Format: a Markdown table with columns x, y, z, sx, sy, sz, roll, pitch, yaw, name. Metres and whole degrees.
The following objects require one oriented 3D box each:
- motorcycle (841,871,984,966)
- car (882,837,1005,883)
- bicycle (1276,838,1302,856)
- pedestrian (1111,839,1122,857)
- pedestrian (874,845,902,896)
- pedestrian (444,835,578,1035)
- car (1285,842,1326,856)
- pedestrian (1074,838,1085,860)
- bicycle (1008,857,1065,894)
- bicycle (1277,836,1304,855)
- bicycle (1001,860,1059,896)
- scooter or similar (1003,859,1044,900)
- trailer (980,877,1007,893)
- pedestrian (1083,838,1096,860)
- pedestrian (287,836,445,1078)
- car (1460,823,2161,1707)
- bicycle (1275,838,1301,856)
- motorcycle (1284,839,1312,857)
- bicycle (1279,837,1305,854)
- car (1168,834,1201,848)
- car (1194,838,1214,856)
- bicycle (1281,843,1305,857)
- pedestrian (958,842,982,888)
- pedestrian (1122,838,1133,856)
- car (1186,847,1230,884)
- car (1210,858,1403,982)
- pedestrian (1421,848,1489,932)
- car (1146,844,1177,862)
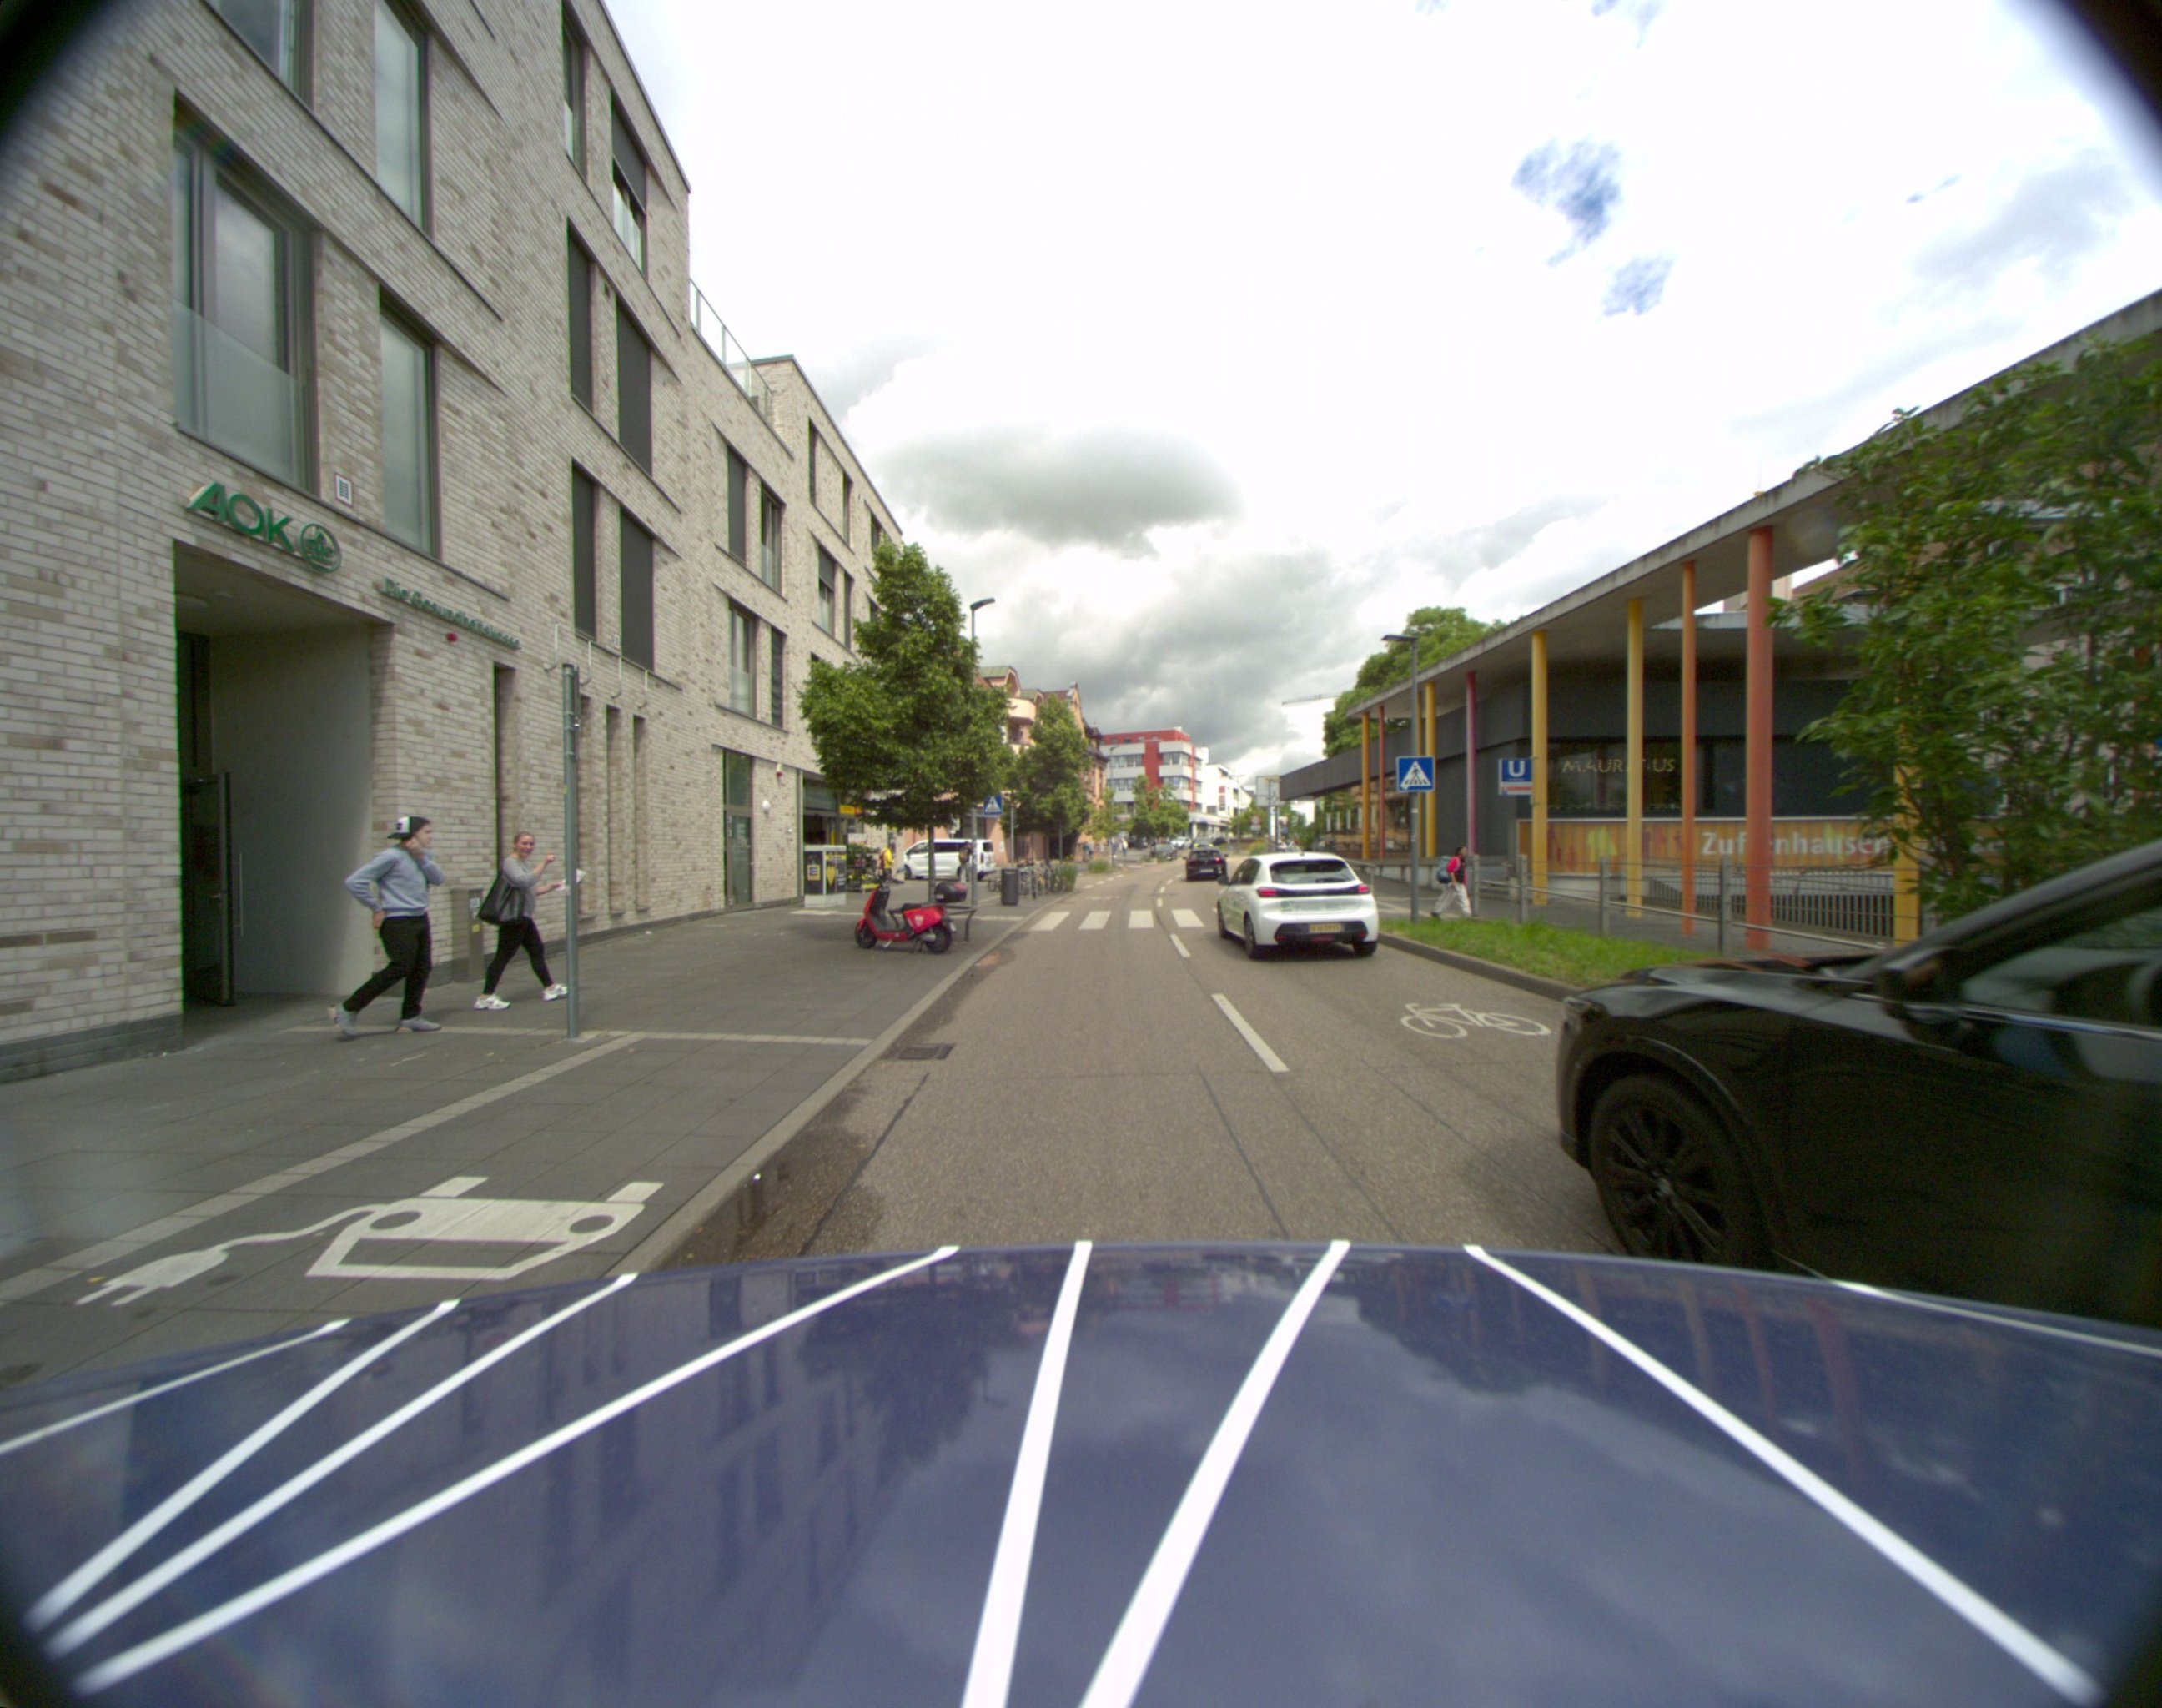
| x | y | z | sx | sy | sz | roll | pitch | yaw | name |
| --- | --- | --- | --- | --- | --- | --- | --- | --- | --- |
| -2.556 | 0.937 | 11.512 | 2.052 | 1.259 | 0.673 | 2 | 2 | 18 | motorcycle |
| -6.622 | 0.272 | 36.834 | 5.386 | 2.002 | 2.001 | -2 | 1 | 10 | car |
| 13.071 | -0.462 | 47.782 | 1.548 | 1.121 | 0.534 | 0 | 2 | 15 | bicycle |
| 3.302 | -0.574 | 70.355 | 0.738 | 1.631 | 0.677 | 0 | 3 | 40 | pedestrian |
| -6.439 | 0.540 | 25.379 | 0.658 | 1.683 | 0.633 | 1 | 2 | 41 | pedestrian |
| -5.304 | 0.707 | 7.129 | 0.735 | 1.757 | 0.756 | 0 | 2 | -14 | pedestrian |
| 24.418 | -0.531 | 82.650 | 4.058 | 1.391 | 1.812 | -3 | 2 | -24 | car |
| -0.120 | -0.396 | 58.408 | 0.717 | 1.676 | 0.945 | 1 | 3 | 11 | pedestrian |
| -1.525 | 0.728 | 26.292 | 1.826 | 1.194 | 0.756 | 1 | 2 | 8 | bicycle |
| 12.668 | -0.503 | 45.972 | 1.548 | 1.121 | 0.534 | 0 | 2 | 15 | bicycle |
| -1.701 | 0.782 | 25.443 | 1.826 | 1.125 | 0.756 | 1 | 2 | 8 | bicycle |
| -1.776 | 0.780 | 23.541 | 1.198 | 1.242 | 0.494 | 1 | 2 | 8 | scooter or similar |
| -3.072 | 1.088 | 26.632 | 0.721 | 0.525 | 0.812 | -1 | 1 | 11 | trailer |
| 0.639 | -0.357 | 57.701 | 0.745 | 1.630 | 0.928 | 2 | 1 | 13 | pedestrian |
| -5.534 | 0.739 | 5.934 | 0.739 | 1.757 | 0.622 | -1 | 2 | -30 | pedestrian |
| 2.620 | 0.735 | 0.912 | 1.924 | 1.595 | 4.626 | -2 | 0 | -1 | car |
| 12.829 | -0.437 | 47.108 | 1.548 | 1.121 | 0.534 | 0 | 2 | 15 | bicycle |
| 17.606 | -0.510 | 61.733 | 2.192 | 1.442 | 0.648 | 0 | 3 | 13 | motorcycle |
| 13.454 | -0.551 | 48.457 | 1.548 | 1.121 | 0.534 | 0 | 2 | 15 | bicycle |
| 13.062 | -1.611 | 95.556 | 4.007 | 1.653 | 1.839 | -3 | 3 | -37 | car |
| 12.383 | -0.713 | 76.291 | 1.802 | 1.571 | 4.002 | -1 | 2 | 11 | car |
| 15.603 | -0.301 | 56.009 | 1.689 | 1.075 | 0.516 | 0 | 0 | 10 | bicycle |
| -4.282 | 0.411 | 29.356 | 0.659 | 1.732 | 1.018 | 0 | 1 | 6 | pedestrian |
| 4.304 | -0.628 | 70.394 | 0.696 | 1.649 | 0.741 | 0 | 3 | 26 | pedestrian |
| 5.587 | 0.471 | 33.331 | 1.775 | 1.455 | 4.237 | -1 | 1 | 10 | car |
| 3.153 | 0.835 | 11.452 | 1.816 | 1.460 | 3.908 | -2 | 0 | 2 | car |
| 7.306 | 0.679 | 14.882 | 0.929 | 1.556 | 0.814 | -2 | 2 | -1 | pedestrian |
| 6.956 | -0.083 | 65.375 | 1.996 | 1.406 | 4.740 | 0 | 2 | 15 | car |
